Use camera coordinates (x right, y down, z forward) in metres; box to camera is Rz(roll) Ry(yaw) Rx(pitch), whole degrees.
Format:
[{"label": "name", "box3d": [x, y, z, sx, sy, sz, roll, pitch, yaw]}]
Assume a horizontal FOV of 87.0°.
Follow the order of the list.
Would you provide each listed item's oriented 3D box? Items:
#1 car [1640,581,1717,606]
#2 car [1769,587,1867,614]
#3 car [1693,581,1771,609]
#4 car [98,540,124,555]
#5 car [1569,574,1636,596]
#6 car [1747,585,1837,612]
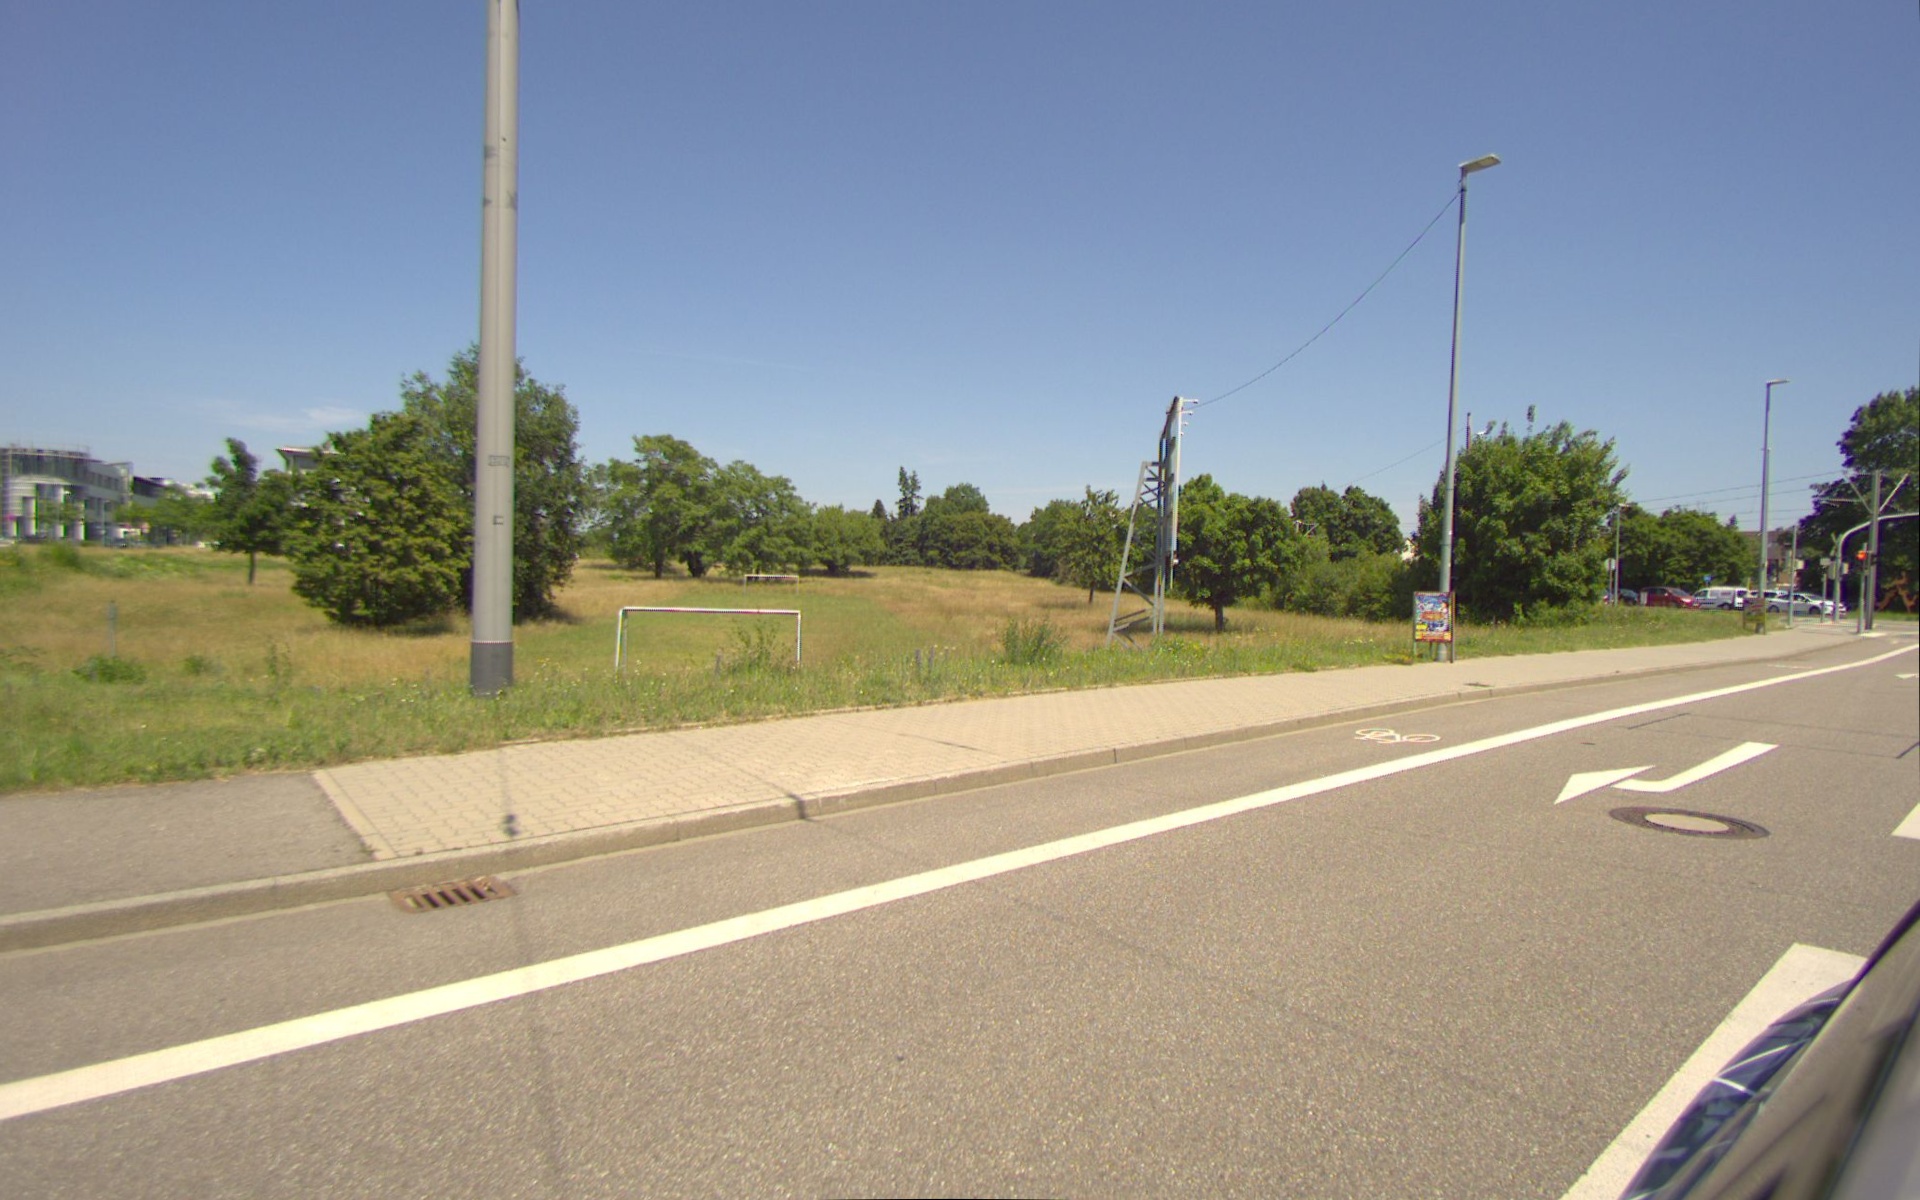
[{"label": "car", "box3d": [51.234, -0.517, 72.268, 1.836, 1.595, 4.421, 2, 2, -10]}, {"label": "car", "box3d": [53.191, -0.002, 62.866, 1.836, 1.406, 4.421, 2, 2, -10]}, {"label": "car", "box3d": [57.321, -0.378, 75.241, 1.857, 1.815, 4.402, 4, 1, -11]}, {"label": "car", "box3d": [-104.468, -6.445, 124.507, 1.671, 1.552, 3.632, 3, -1, -29]}, {"label": "car", "box3d": [50.218, -1.188, 79.195, 1.836, 1.595, 4.421, 2, 2, -10]}, {"label": "car", "box3d": [55.576, -0.149, 67.697, 1.836, 1.595, 4.421, 2, 2, -10]}]
